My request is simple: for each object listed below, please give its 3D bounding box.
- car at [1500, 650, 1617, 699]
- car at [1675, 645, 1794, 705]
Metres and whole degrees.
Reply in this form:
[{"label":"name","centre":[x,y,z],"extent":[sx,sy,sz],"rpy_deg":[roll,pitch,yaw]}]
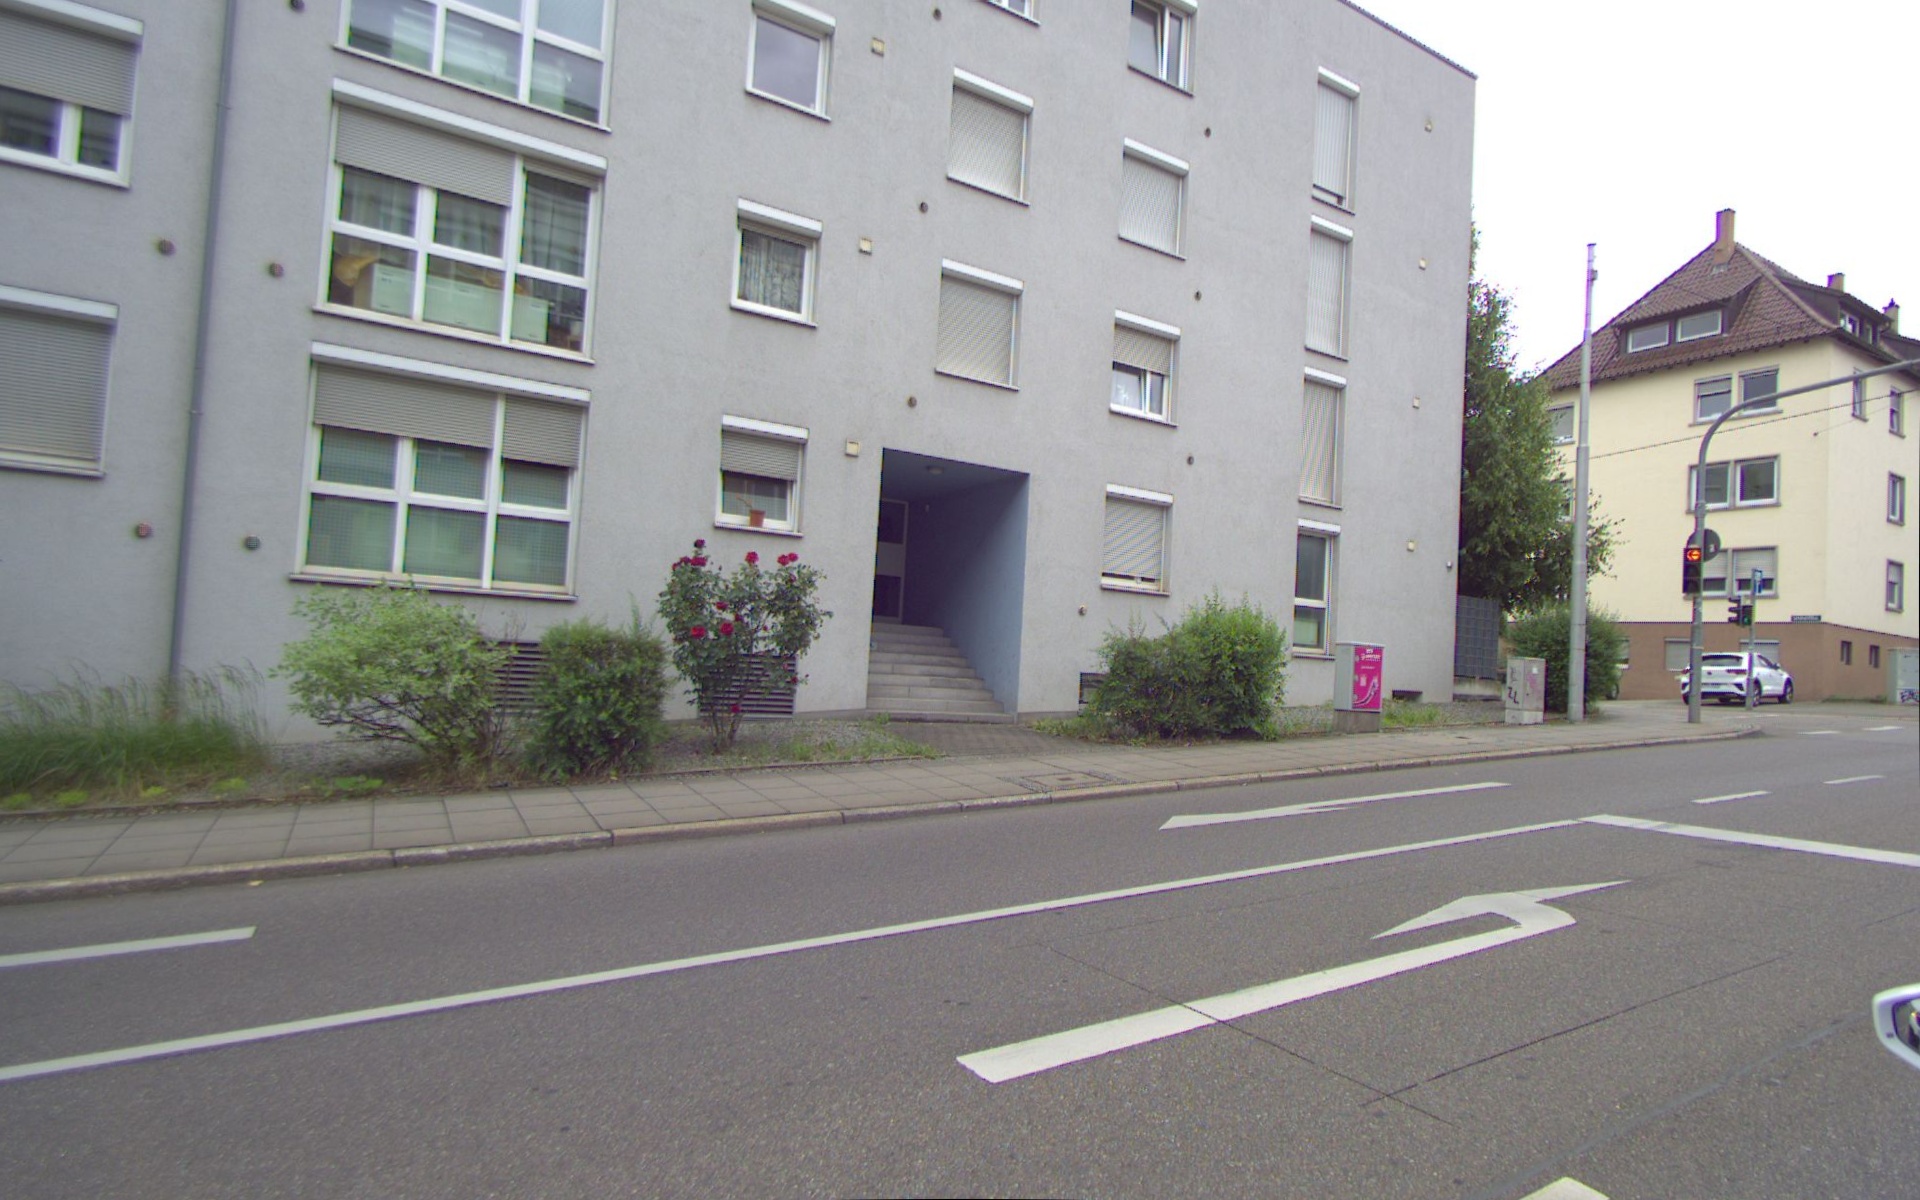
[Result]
[{"label":"car","centre":[20.489,2.528,34.375],"extent":[4.053,1.566,1.662],"rpy_deg":[2,-4,-30]},{"label":"car","centre":[23.281,2.213,30.154],"extent":[3.960,1.683,1.660],"rpy_deg":[2,-4,-35]}]
